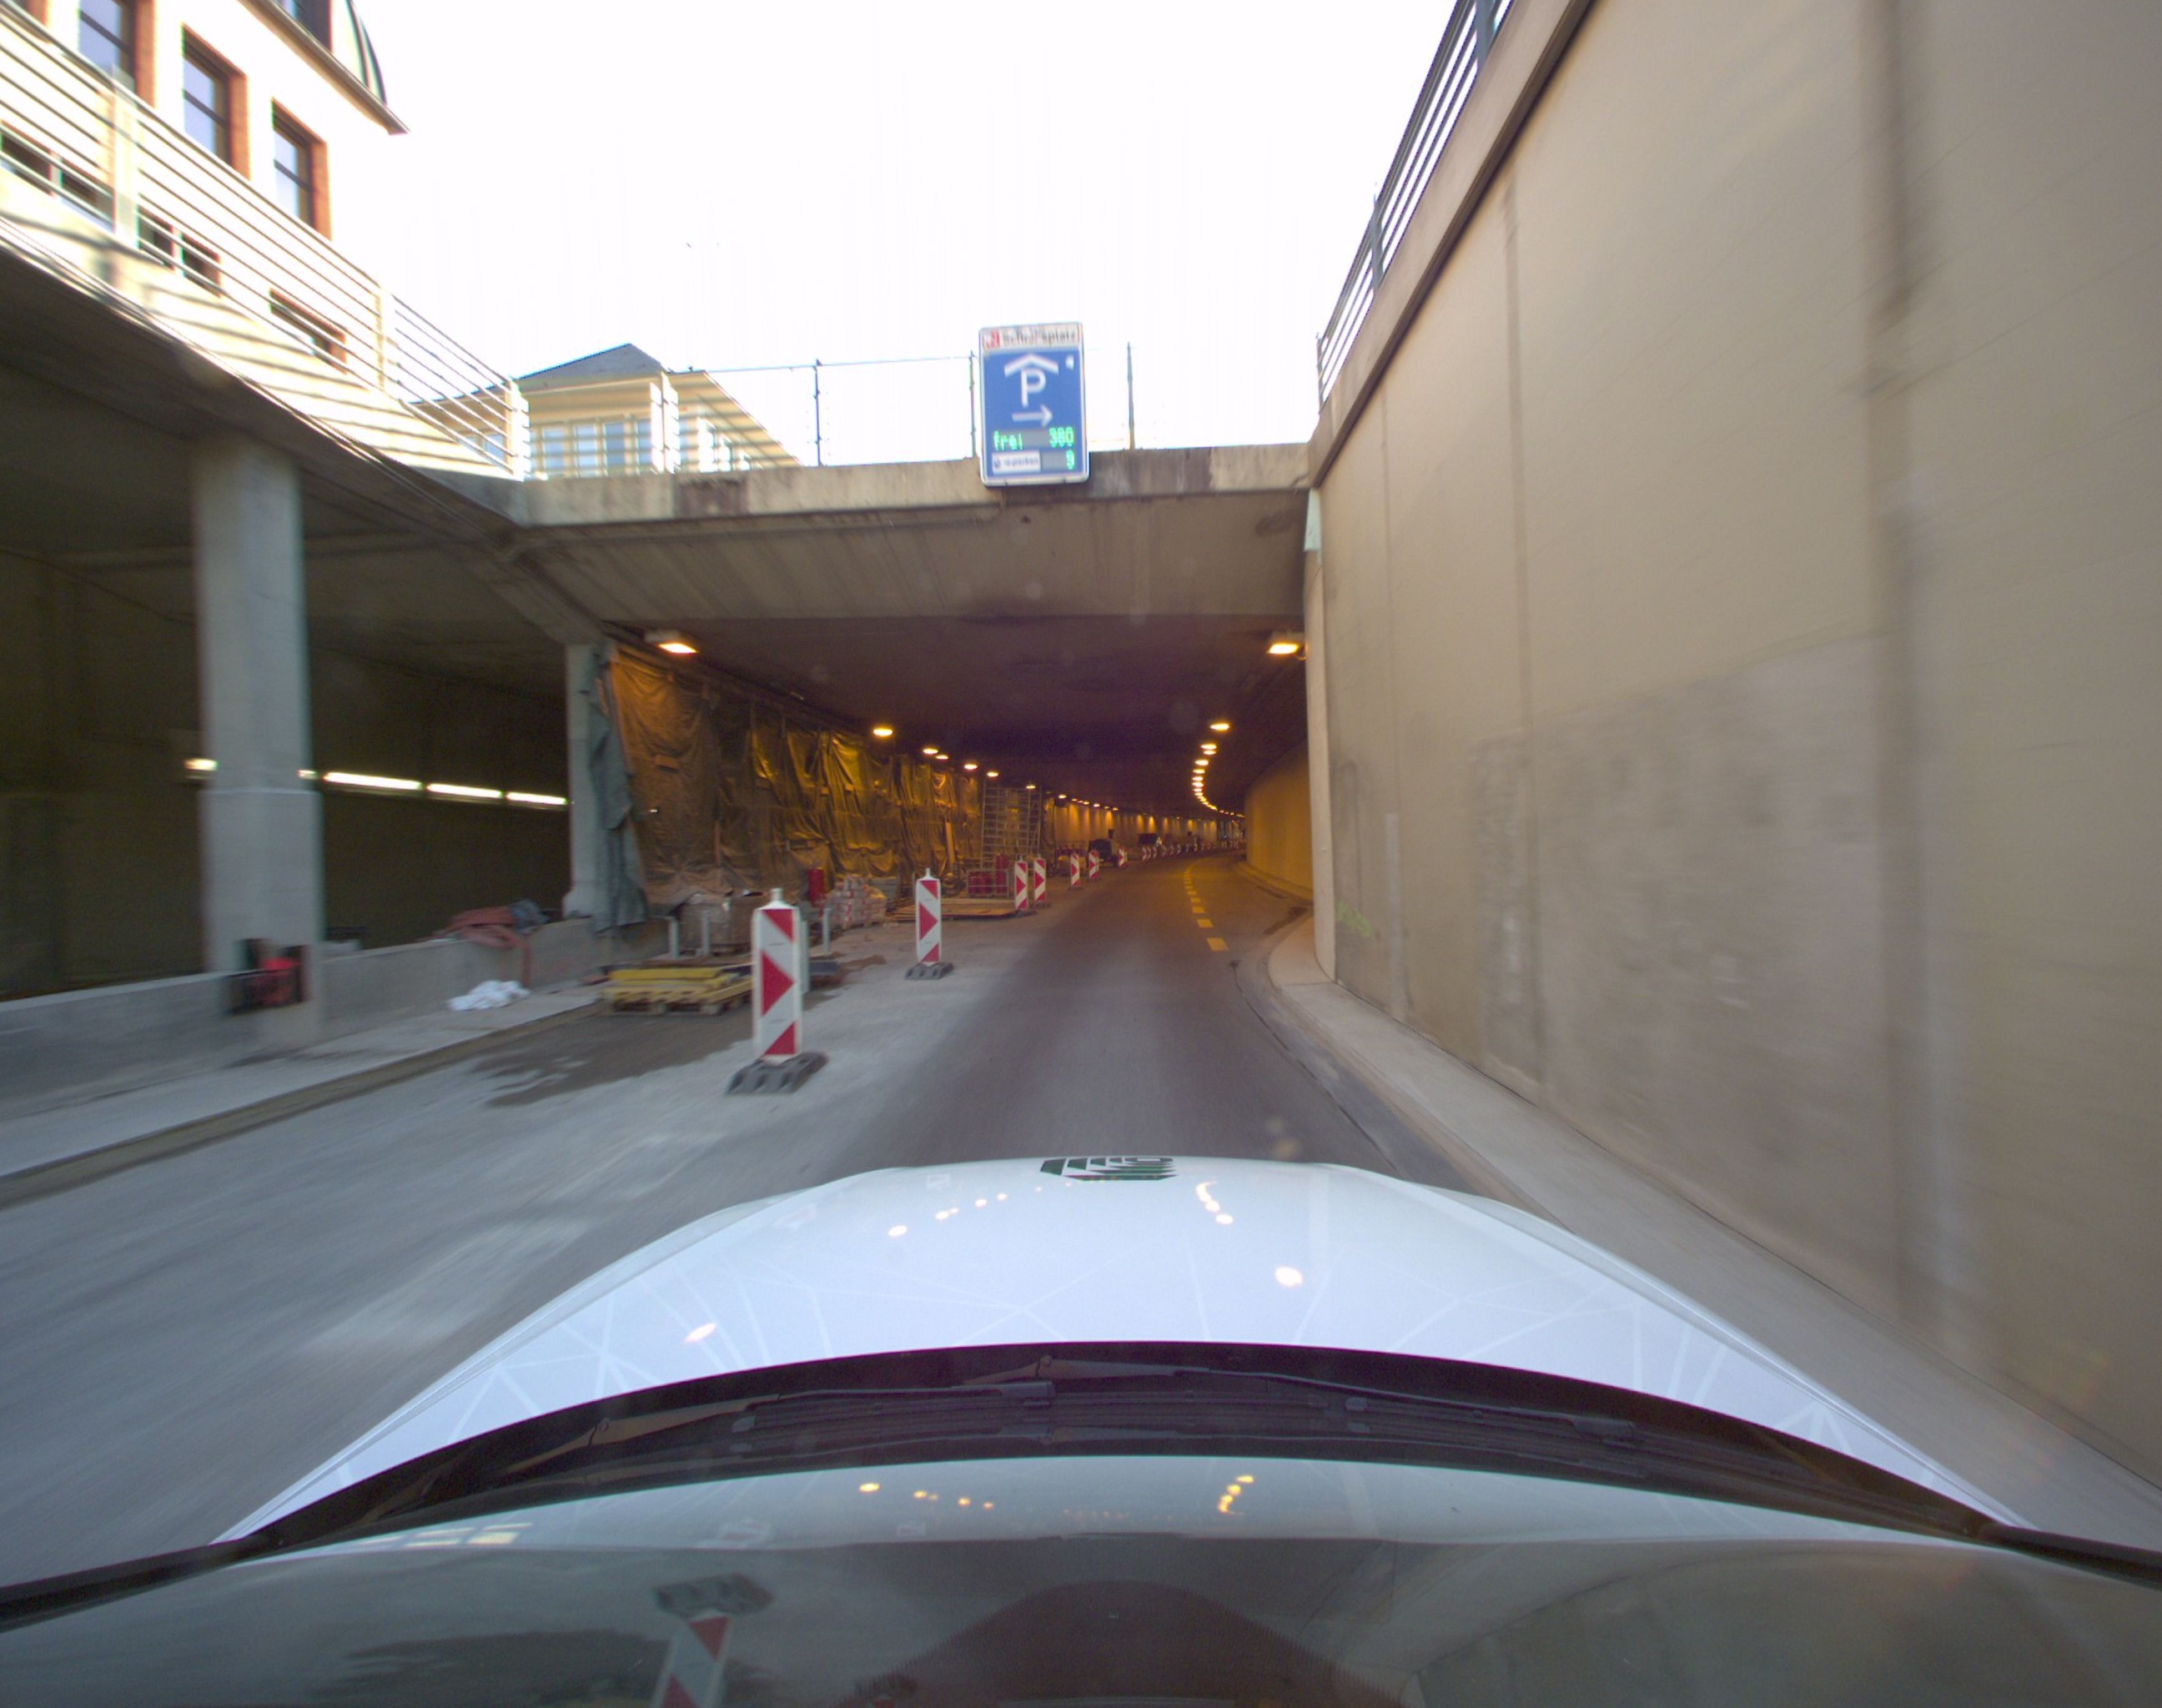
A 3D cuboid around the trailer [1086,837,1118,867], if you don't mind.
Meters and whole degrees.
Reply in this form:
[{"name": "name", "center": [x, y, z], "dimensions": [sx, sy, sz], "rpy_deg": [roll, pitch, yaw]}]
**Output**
[{"name": "trailer", "center": [1.283, -0.128, 49.234], "dimensions": [1.571, 1.798, 2.946], "rpy_deg": [0, 0, 8]}]
